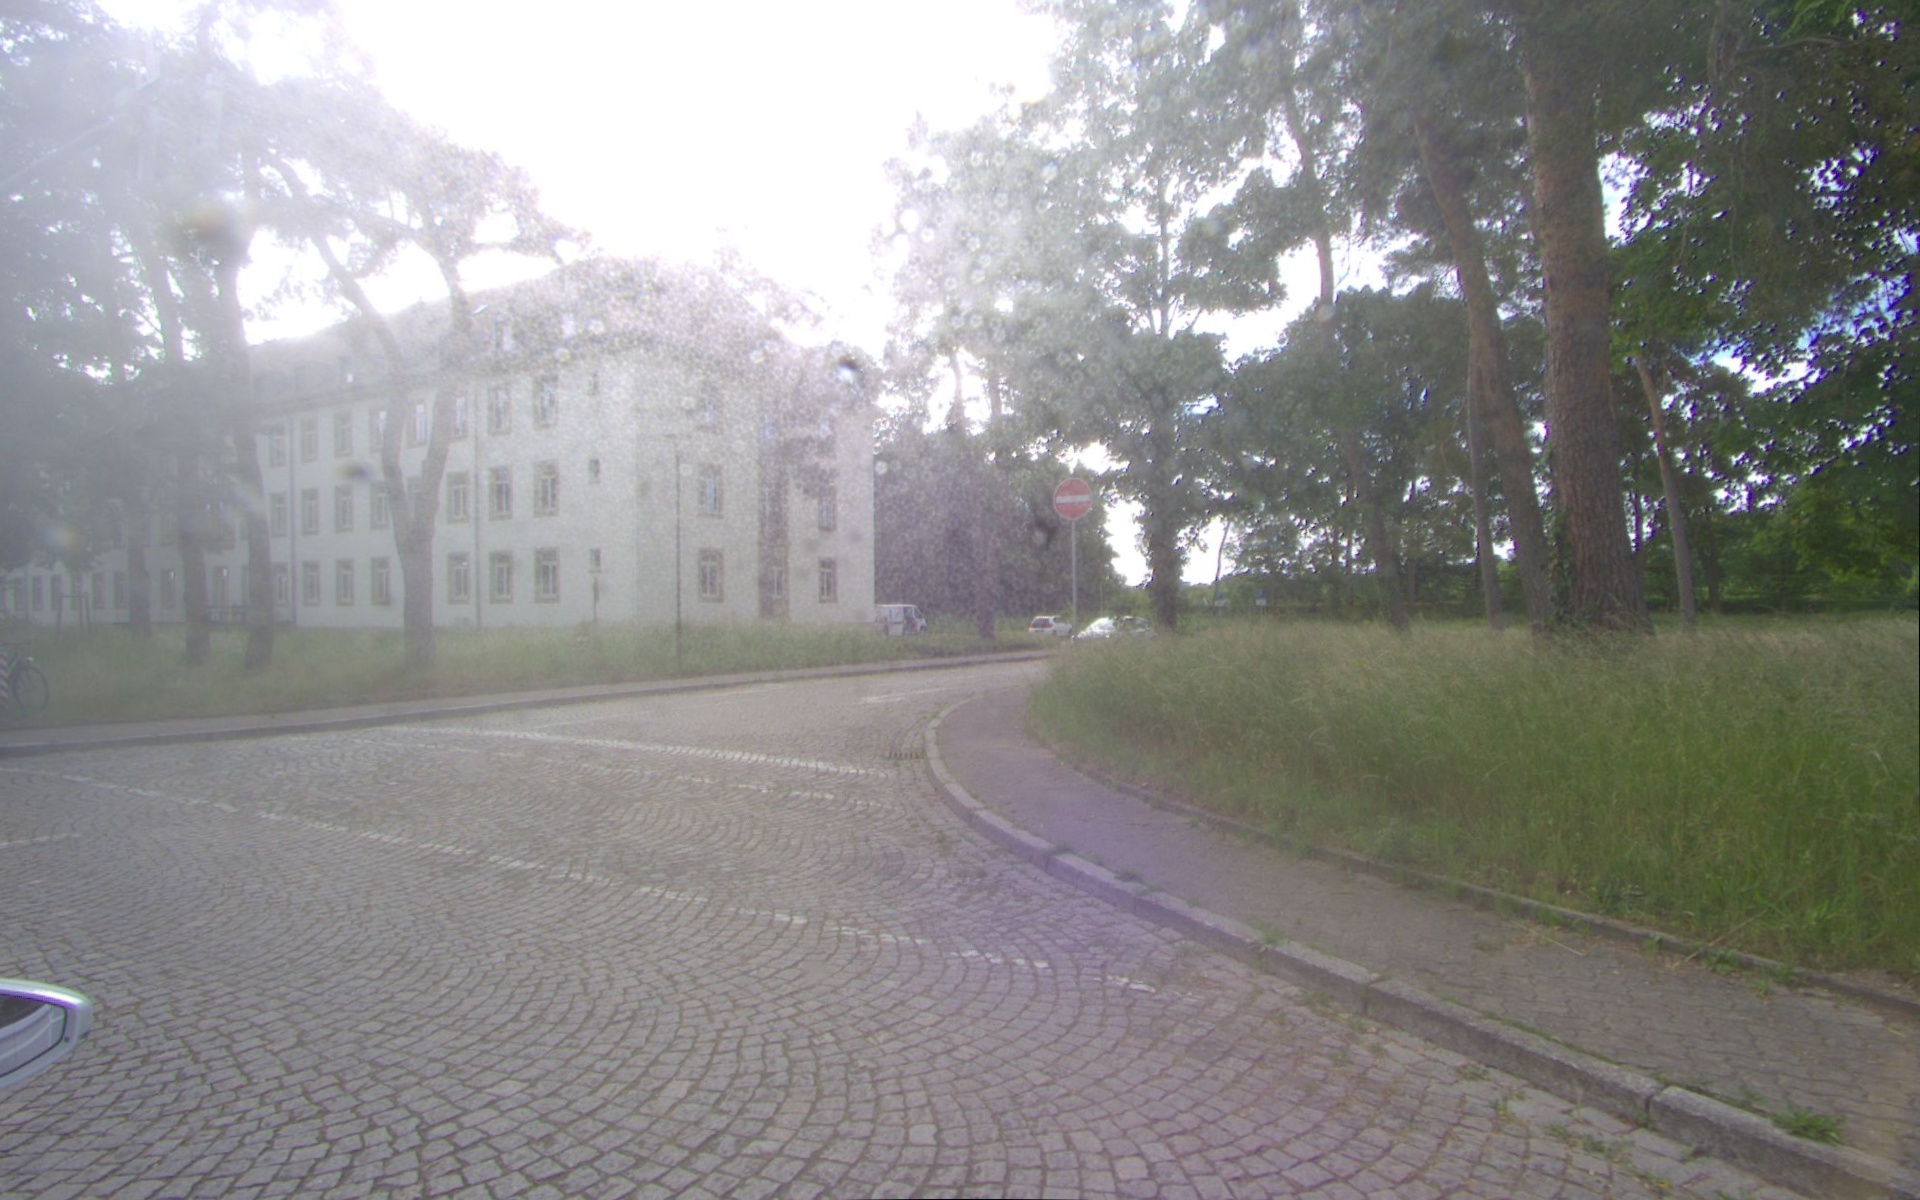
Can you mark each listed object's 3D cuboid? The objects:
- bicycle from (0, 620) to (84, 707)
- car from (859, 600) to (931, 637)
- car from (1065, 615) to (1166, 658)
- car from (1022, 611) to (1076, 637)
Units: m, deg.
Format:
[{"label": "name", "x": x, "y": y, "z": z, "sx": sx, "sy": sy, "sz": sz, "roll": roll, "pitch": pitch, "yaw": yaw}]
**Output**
[{"label": "bicycle", "x": -13.736, "y": 0.886, "z": 14.568, "sx": 1.845, "sy": 1.192, "sz": 0.908, "roll": -1, "pitch": 0, "yaw": 29}, {"label": "car", "x": -4.166, "y": 1.179, "z": 65.462, "sx": 2.180, "sy": 2.318, "sz": 5.173, "roll": 0, "pitch": -1, "yaw": 30}, {"label": "car", "x": 5.815, "y": 1.296, "z": 37.146, "sx": 1.864, "sy": 1.435, "sz": 4.226, "roll": 2, "pitch": 1, "yaw": 38}, {"label": "car", "x": 5.438, "y": 1.467, "z": 60.868, "sx": 1.970, "sy": 1.527, "sz": 3.477, "roll": 0, "pitch": -1, "yaw": 30}]
